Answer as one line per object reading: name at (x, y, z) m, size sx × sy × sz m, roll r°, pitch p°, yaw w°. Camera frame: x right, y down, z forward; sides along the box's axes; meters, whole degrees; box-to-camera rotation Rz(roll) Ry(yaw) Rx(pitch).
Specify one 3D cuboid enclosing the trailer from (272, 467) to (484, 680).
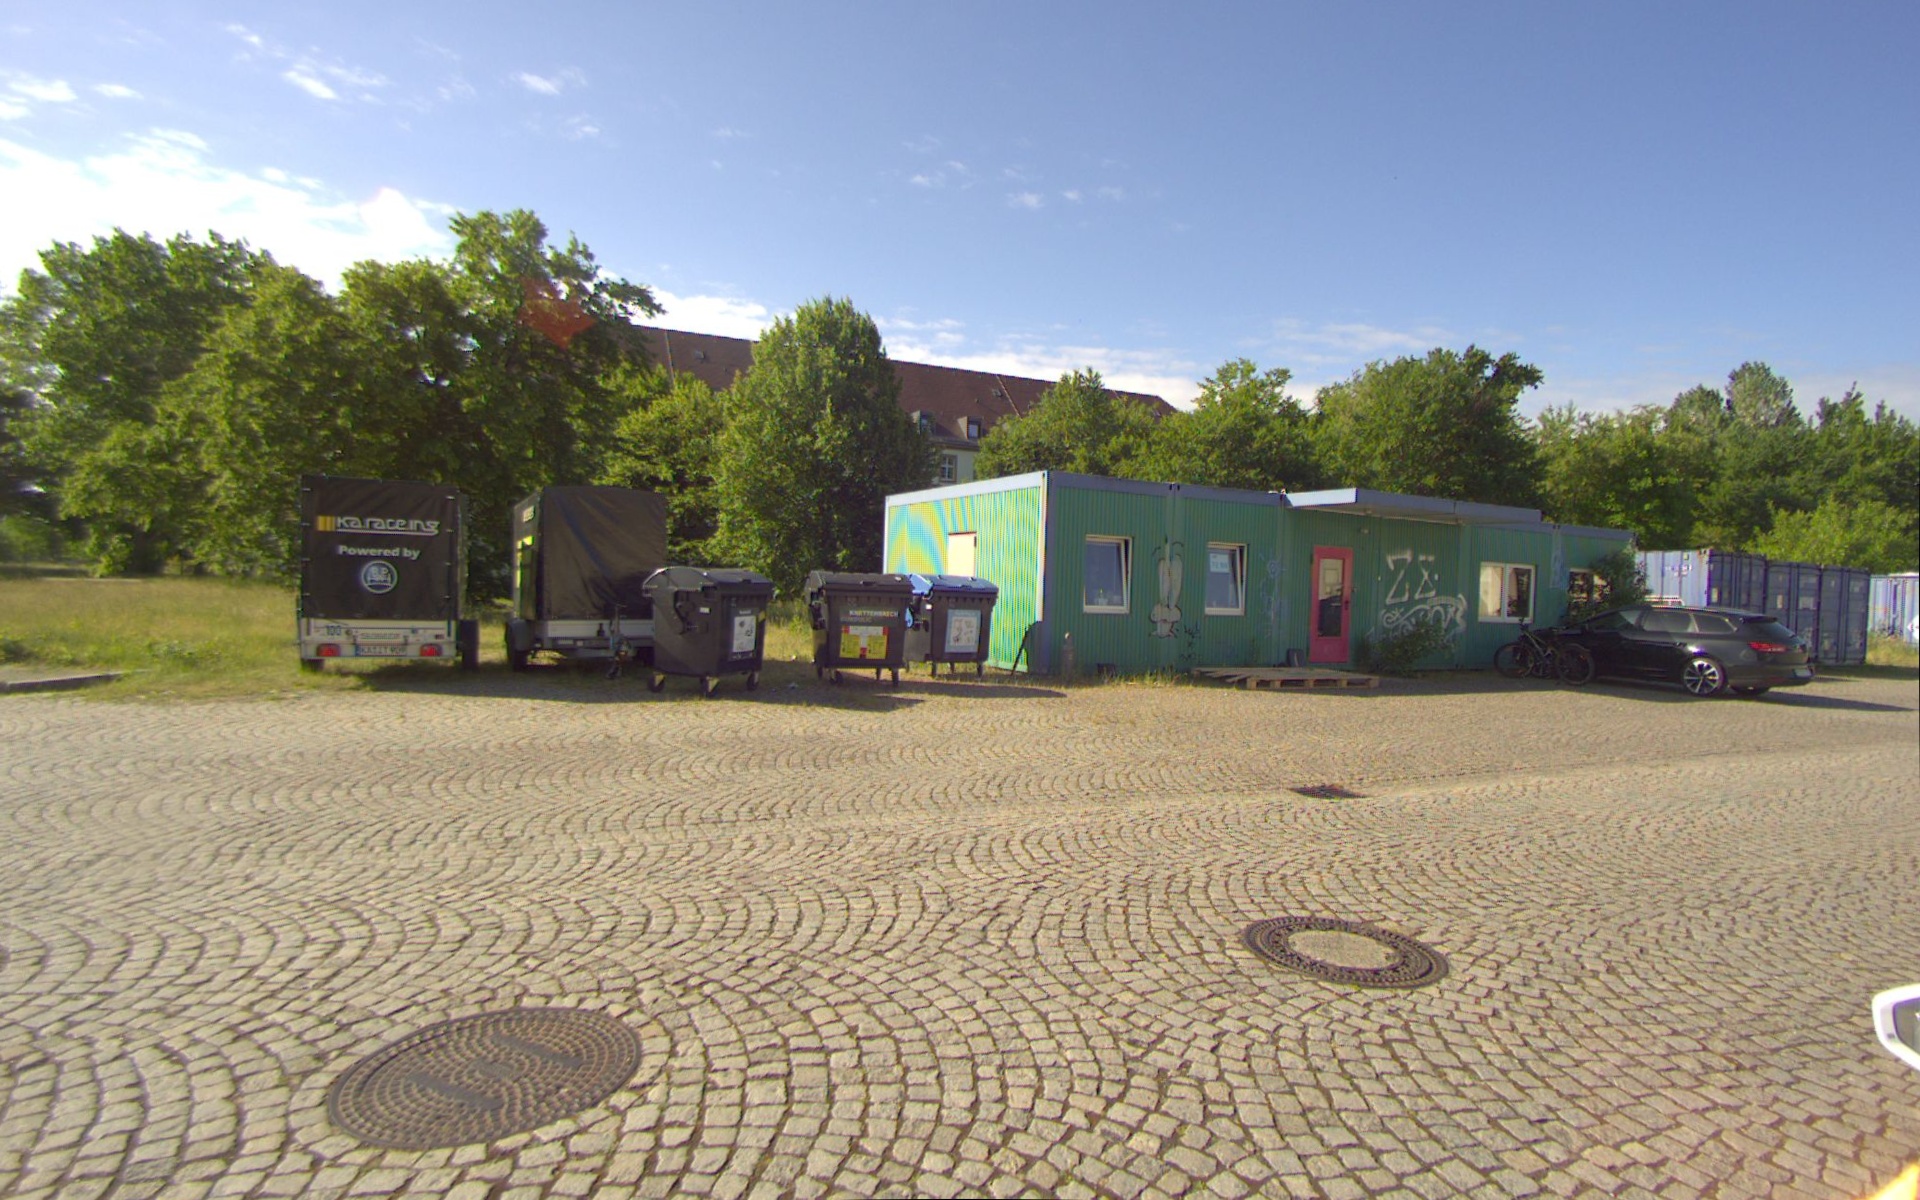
trailer at (-7.476, -0.367, 13.333) m, size 1.987 × 2.303 × 4.439 m, roll 1°, pitch 2°, yaw -25°

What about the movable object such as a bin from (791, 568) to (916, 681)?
movable object such as a bin at (-1.414, 0.307, 13.178) m, size 1.349 × 1.404 × 1.078 m, roll 2°, pitch 1°, yaw -22°

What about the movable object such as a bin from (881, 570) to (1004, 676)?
movable object such as a bin at (-0.252, 0.316, 14.641) m, size 1.396 × 1.456 × 1.077 m, roll 1°, pitch 1°, yaw -37°

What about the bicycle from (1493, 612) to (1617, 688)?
bicycle at (10.247, 0.834, 17.361) m, size 0.664 × 1.116 × 1.702 m, roll 1°, pitch 3°, yaw -25°

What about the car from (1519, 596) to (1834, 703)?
car at (12.149, 0.761, 17.326) m, size 1.711 × 1.432 × 4.029 m, roll 2°, pitch 2°, yaw -30°

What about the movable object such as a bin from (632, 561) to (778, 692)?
movable object such as a bin at (-2.966, 0.282, 11.786) m, size 1.027 × 1.404 × 1.364 m, roll 2°, pitch 1°, yaw 22°

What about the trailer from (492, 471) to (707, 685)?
trailer at (-5.174, -0.345, 13.939) m, size 1.920 × 2.423 × 4.815 m, roll 1°, pitch 2°, yaw -30°
